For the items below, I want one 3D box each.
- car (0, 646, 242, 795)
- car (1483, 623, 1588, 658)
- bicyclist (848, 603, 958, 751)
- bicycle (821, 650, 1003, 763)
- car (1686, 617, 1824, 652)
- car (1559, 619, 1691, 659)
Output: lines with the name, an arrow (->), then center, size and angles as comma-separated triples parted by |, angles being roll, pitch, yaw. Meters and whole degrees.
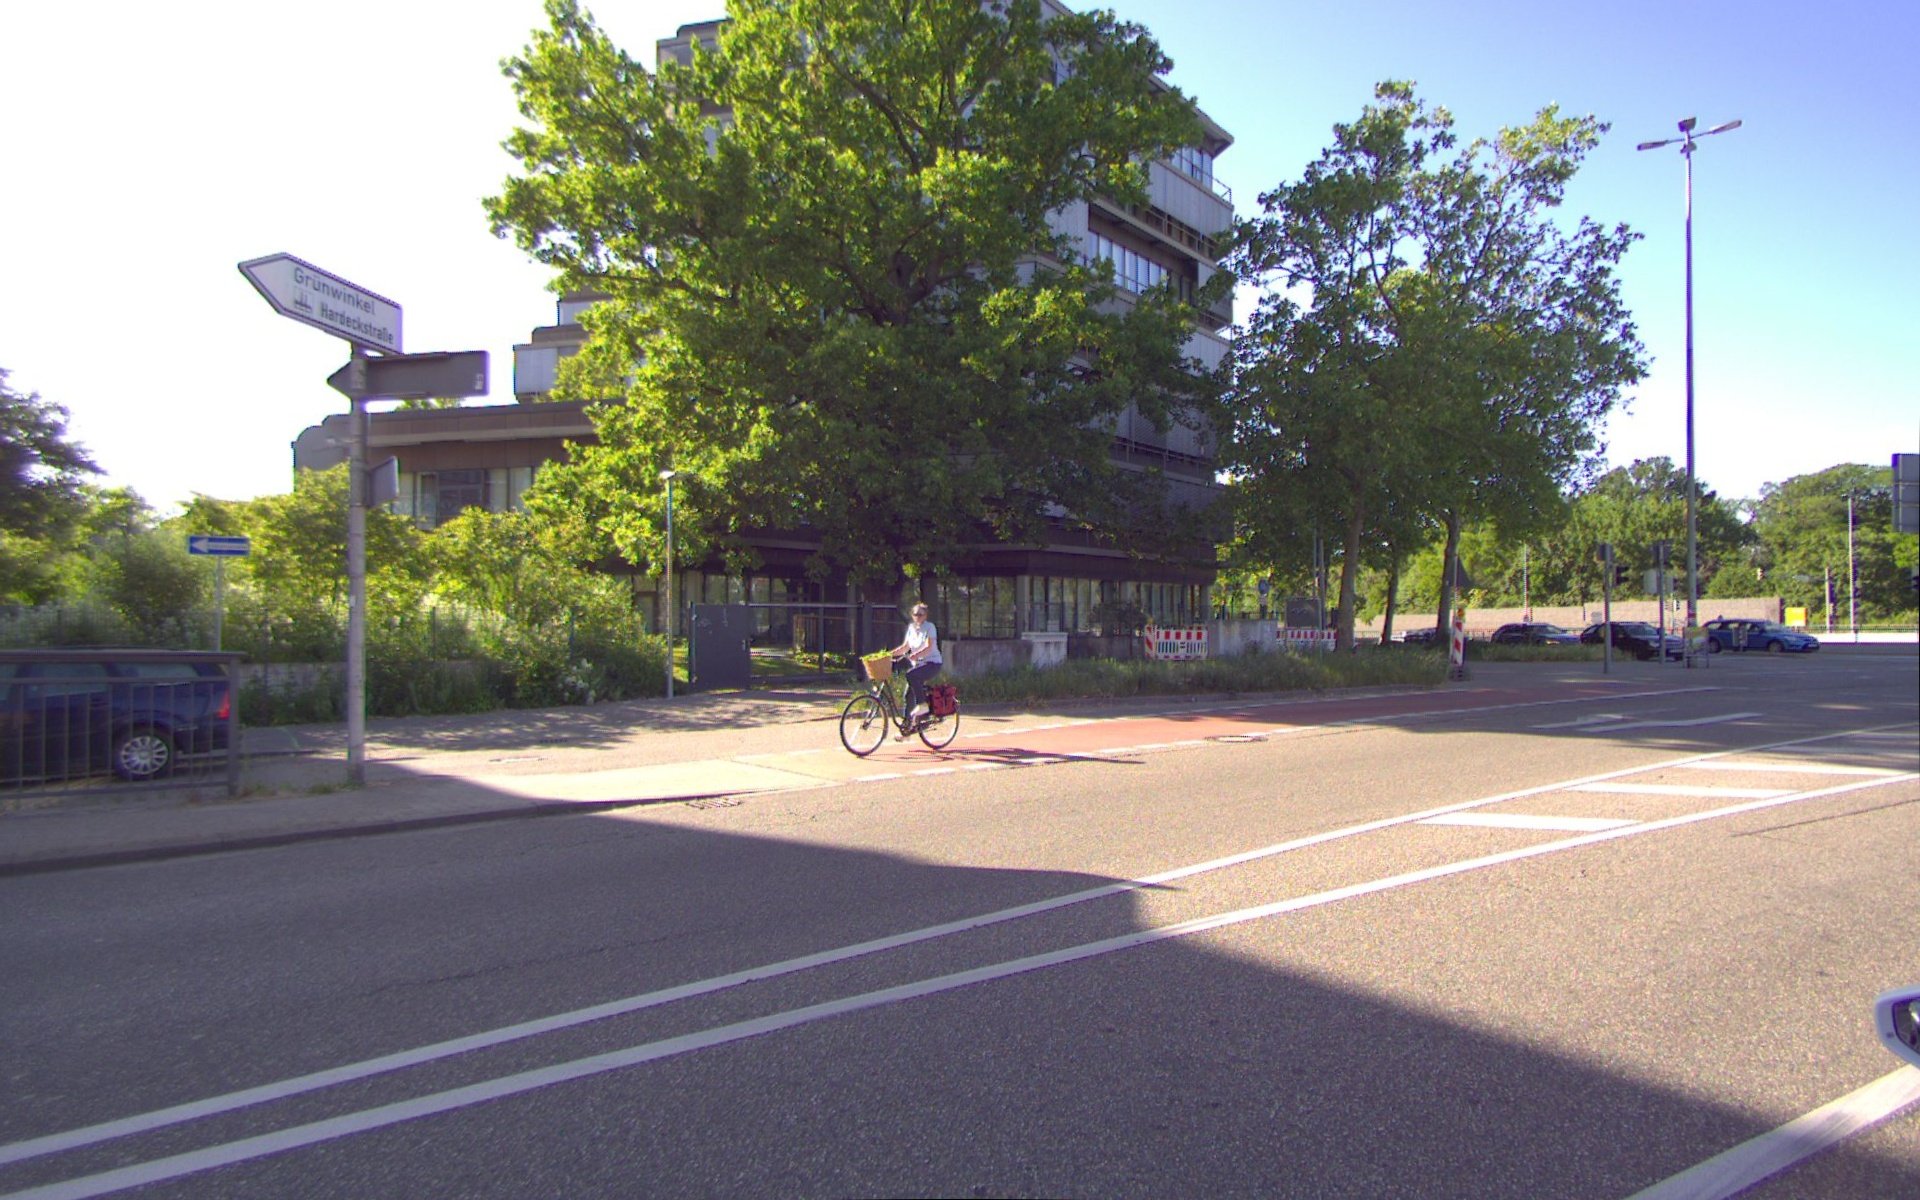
car -> -10.776, 1.318, 11.236 | 4.411, 1.523, 1.806 | 1, -2, -38
car -> 25.852, 1.804, 45.287 | 1.792, 1.457, 4.446 | 0, -2, -7
bicyclist -> -0.700, 0.912, 12.377 | 1.187, 1.723, 0.681 | 1, -1, -39
bicycle -> -0.553, 1.262, 12.433 | 2.307, 1.218, 0.681 | 1, -1, -39
car -> 34.235, 1.474, 43.401 | 1.797, 1.457, 4.435 | 0, -2, -17
car -> 25.562, 1.477, 38.805 | 1.792, 1.457, 4.446 | 0, -2, -7
